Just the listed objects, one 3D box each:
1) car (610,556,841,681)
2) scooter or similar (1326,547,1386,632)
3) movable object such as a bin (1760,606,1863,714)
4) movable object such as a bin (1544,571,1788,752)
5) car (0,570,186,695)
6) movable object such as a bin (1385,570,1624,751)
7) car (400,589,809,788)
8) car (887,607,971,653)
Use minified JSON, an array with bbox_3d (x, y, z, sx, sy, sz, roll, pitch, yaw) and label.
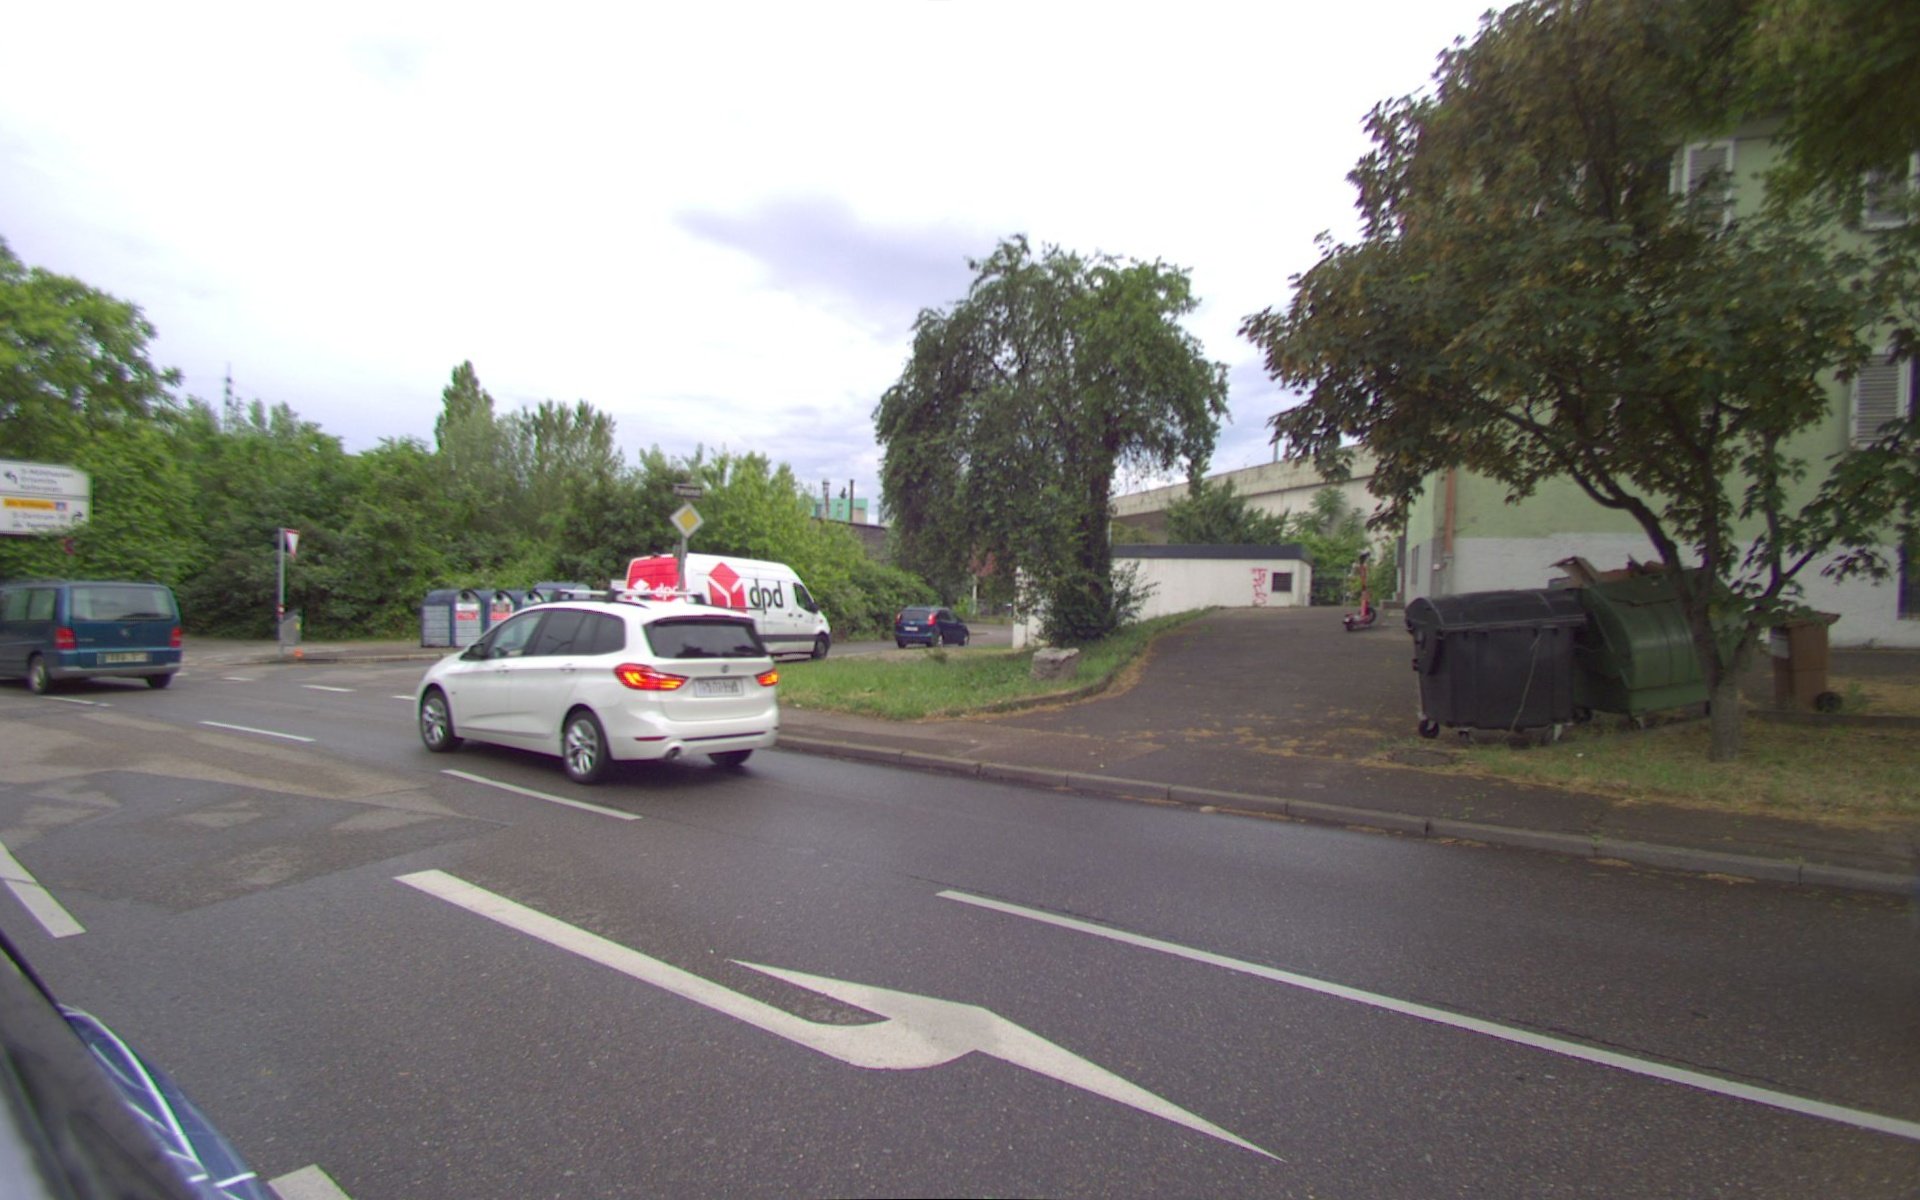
[{"bbox_3d":[-5.537,0.389,25.266,2.247,2.675,6.776,1,0,21],"label":"car"},{"bbox_3d":[6.433,-0.199,16.406,0.529,1.283,1.507,1,4,36],"label":"scooter or similar"},{"bbox_3d":[8.065,0.545,9.591,0.723,0.964,0.551,1,0,41],"label":"movable object such as a bin"},{"bbox_3d":[6.562,0.524,9.488,1.440,1.448,1.102,-5,3,-5],"label":"movable object such as a bin"},{"bbox_3d":[-15.846,0.519,17.831,4.666,1.946,1.943,0,-1,31],"label":"car"},{"bbox_3d":[5.107,0.517,9.608,1.440,1.448,1.296,-5,3,-6],"label":"movable object such as a bin"},{"bbox_3d":[-3.689,0.758,10.157,4.327,1.590,1.814,-2,-1,38],"label":"car"},{"bbox_3d":[-1.148,1.139,39.718,1.984,1.642,4.227,1,0,18],"label":"car"}]
